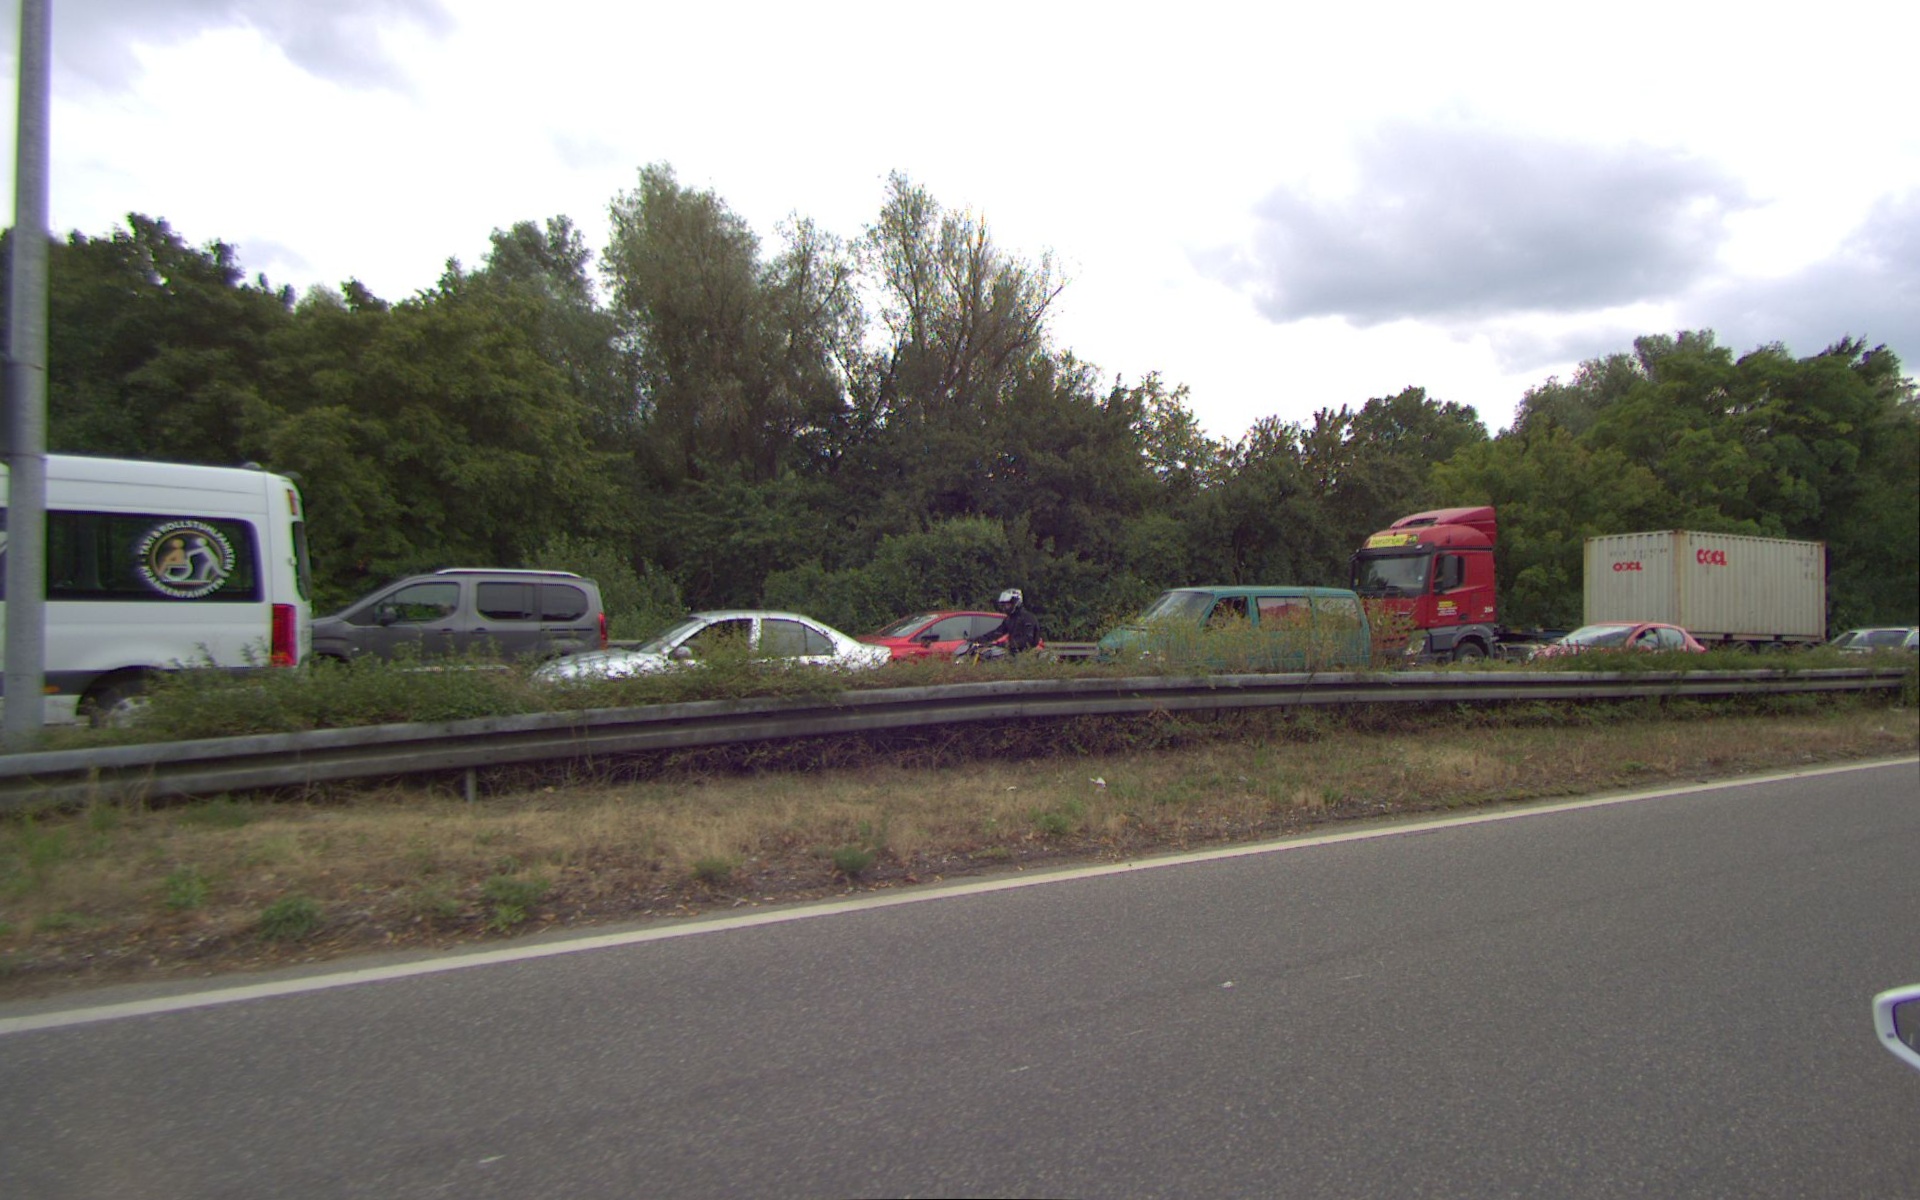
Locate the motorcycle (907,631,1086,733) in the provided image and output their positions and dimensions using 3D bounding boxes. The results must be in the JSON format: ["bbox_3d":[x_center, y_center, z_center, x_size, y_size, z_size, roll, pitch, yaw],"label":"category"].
[{"bbox_3d":[0.509,1.053,13.327,2.299,1.241,0.795,2,-1,-30],"label":"motorcycle"}]

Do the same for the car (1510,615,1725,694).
[{"bbox_3d":[13.391,1.095,20.455,4.069,1.451,1.799,2,-1,-25],"label":"car"}]

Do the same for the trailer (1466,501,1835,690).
[{"bbox_3d":[17.838,0.072,25.684,10.620,4.202,2.529,2,-1,-24],"label":"trailer"}]

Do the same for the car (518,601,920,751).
[{"bbox_3d":[-2.868,0.836,12.121,4.347,1.518,1.985,2,-1,-29],"label":"car"}]

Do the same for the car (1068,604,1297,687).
[{"bbox_3d":[4.387,0.878,19.681,4.225,1.485,1.797,2,-1,-28],"label":"car"}]

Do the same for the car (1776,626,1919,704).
[{"bbox_3d":[21.892,1.536,24.112,4.275,1.689,1.836,2,-1,-24],"label":"car"}]

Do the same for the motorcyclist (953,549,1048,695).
[{"bbox_3d":[0.525,0.292,13.332,0.914,1.847,0.861,2,-1,-29],"label":"motorcyclist"}]

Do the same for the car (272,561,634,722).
[{"bbox_3d":[-6.803,0.562,13.823,4.114,1.927,1.986,2,-1,-28],"label":"car"}]

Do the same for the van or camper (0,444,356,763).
[{"bbox_3d":[-9.106,0.006,8.794,6.420,2.623,2.150,2,-1,-31],"label":"van or camper"}]

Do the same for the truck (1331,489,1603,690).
[{"bbox_3d":[11.570,-0.117,22.958,5.543,4.137,2.562,2,-1,-23],"label":"truck"}]

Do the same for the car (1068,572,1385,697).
[{"bbox_3d":[4.281,0.569,15.987,4.895,1.752,1.798,2,-1,-26],"label":"car"}]

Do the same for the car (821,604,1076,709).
[{"bbox_3d":[-0.188,0.946,17.423,3.950,1.635,1.986,2,-1,-28],"label":"car"}]
